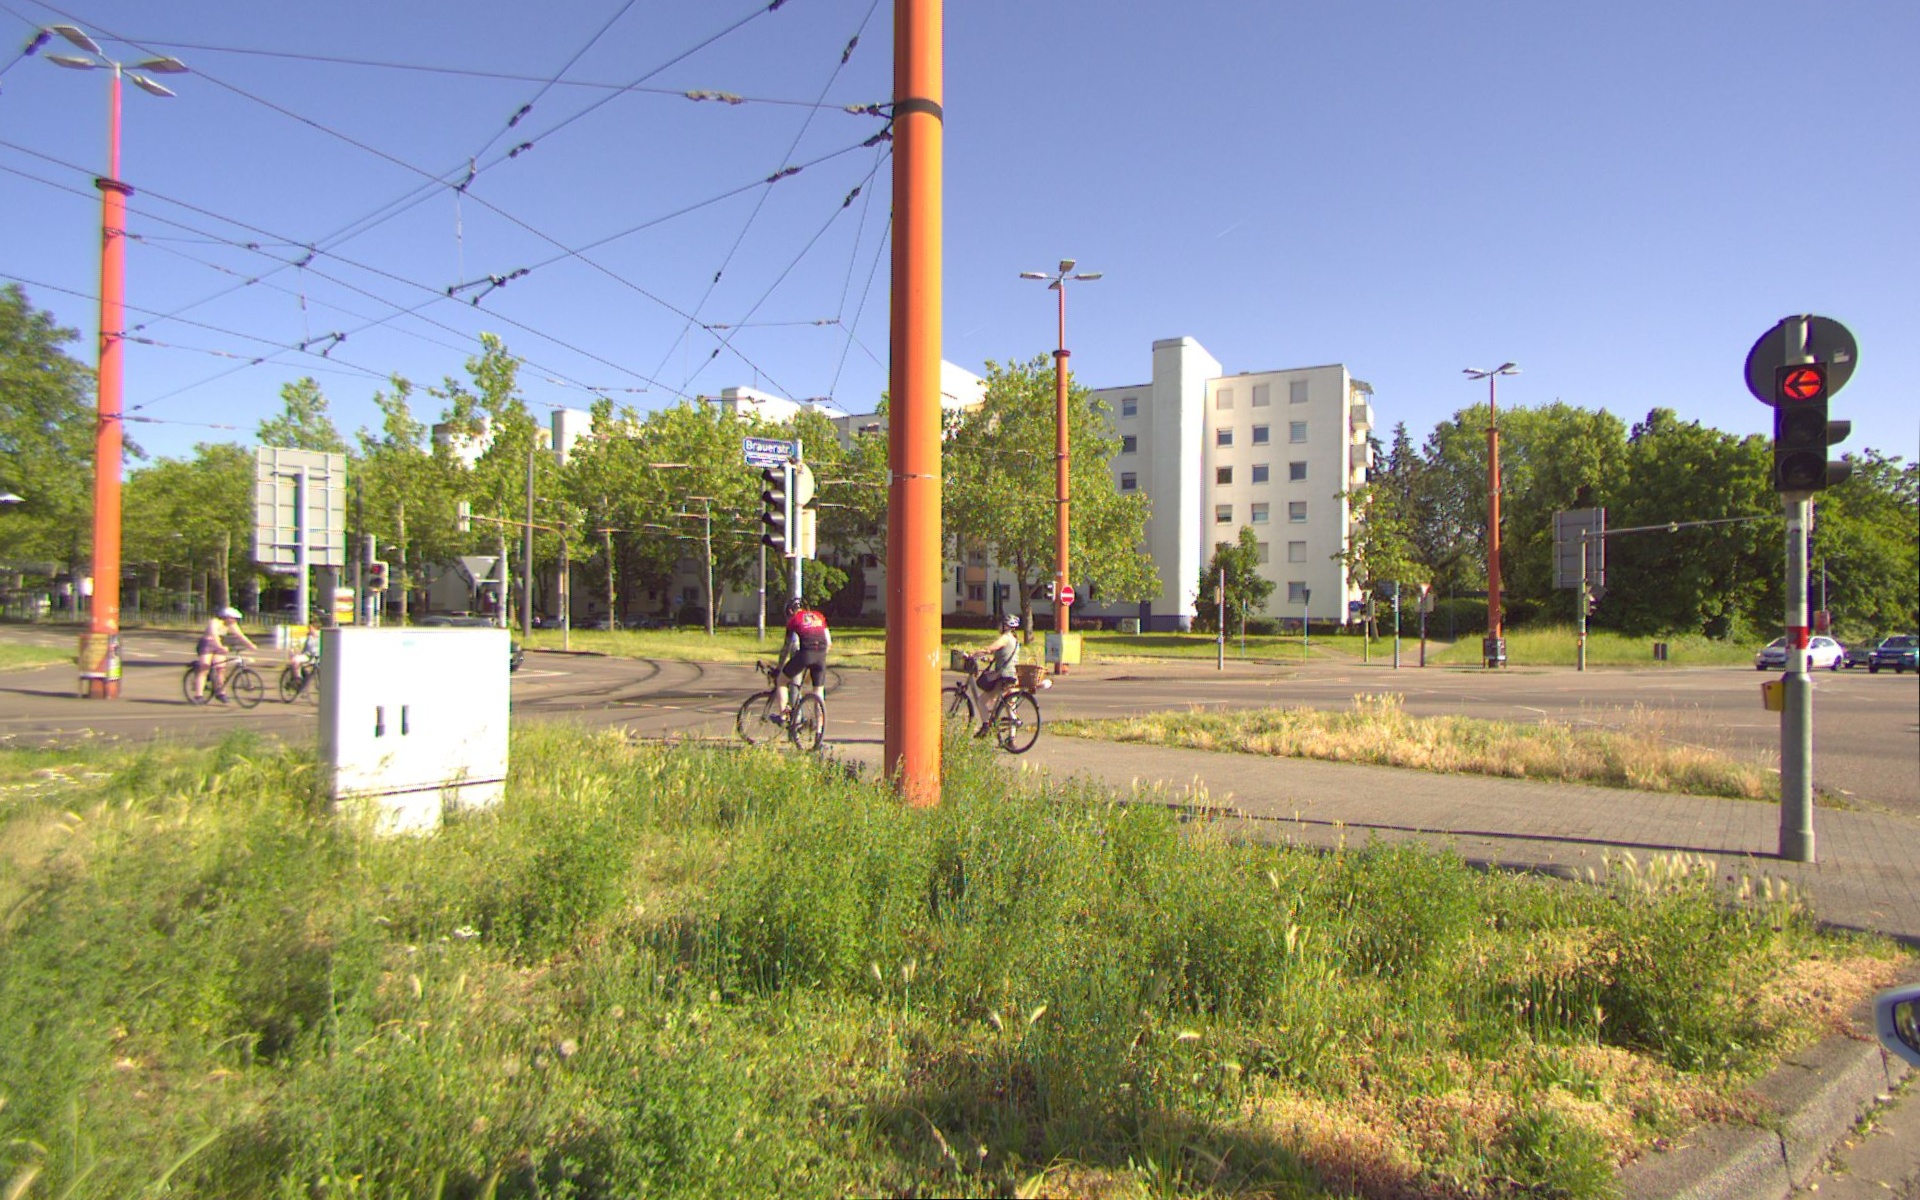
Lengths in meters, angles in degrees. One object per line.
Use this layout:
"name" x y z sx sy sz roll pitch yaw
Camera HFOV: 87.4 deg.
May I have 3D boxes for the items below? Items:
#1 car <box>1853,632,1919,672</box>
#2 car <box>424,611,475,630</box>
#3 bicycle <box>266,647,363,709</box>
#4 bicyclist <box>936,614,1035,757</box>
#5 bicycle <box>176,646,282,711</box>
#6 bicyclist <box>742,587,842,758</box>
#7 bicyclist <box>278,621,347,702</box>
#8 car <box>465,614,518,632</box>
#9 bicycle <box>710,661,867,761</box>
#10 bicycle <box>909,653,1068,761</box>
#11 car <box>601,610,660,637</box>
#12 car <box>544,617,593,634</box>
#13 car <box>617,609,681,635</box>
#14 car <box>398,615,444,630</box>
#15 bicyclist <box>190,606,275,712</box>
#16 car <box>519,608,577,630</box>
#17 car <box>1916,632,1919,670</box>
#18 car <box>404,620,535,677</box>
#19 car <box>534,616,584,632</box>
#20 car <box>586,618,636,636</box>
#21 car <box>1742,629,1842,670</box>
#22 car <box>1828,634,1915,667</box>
"car" 37.302 2.042 39.767 3.813 1.535 1.793 1 -3 -30
"car" -43.253 1.761 85.106 3.592 1.480 1.608 2 0 -19
"bicycle" -12.853 1.536 20.002 1.878 1.086 0.580 2 0 19
"bicyclist" 0.319 1.003 12.232 0.815 1.643 0.888 0 -1 41
"bicycle" -13.637 1.439 18.738 1.877 1.086 0.580 2 0 17
"bicyclist" -2.005 0.843 11.967 0.974 1.938 0.685 -1 -2 33
"bicyclist" -12.891 1.203 20.009 0.906 1.545 0.720 2 0 20
"car" -38.835 1.917 83.394 3.665 1.349 1.496 2 0 -8
"bicycle" -2.071 1.286 12.008 1.883 1.085 0.690 -2 -2 33
"bicycle" 0.320 1.253 12.190 1.887 1.146 0.737 0 -1 41
"car" -23.662 1.701 72.301 3.874 1.841 1.651 2 0 -13
"car" -29.323 1.889 75.345 3.219 1.172 1.357 2 0 -12
"car" -19.419 1.398 62.635 3.884 1.522 1.833 -1 -3 35
"car" -46.620 1.924 86.960 3.370 1.204 1.439 2 0 -23
"bicyclist" -13.594 1.083 18.780 0.905 1.892 0.893 2 0 17
"car" -32.543 1.505 79.438 3.868 1.614 1.656 2 0 -8
"car" 42.612 2.171 42.717 3.955 1.575 1.891 2 -2 -32
"car" -15.217 1.442 31.103 3.977 1.516 1.913 2 0 34
"car" -30.891 1.856 77.442 3.346 1.162 1.305 2 0 -13
"car" -25.826 1.995 74.318 3.279 1.149 1.321 2 0 -11
"car" 35.371 2.113 42.689 4.168 1.673 1.869 2 -3 -29
"car" 43.141 2.376 47.533 3.952 1.533 1.877 1 -2 -29
